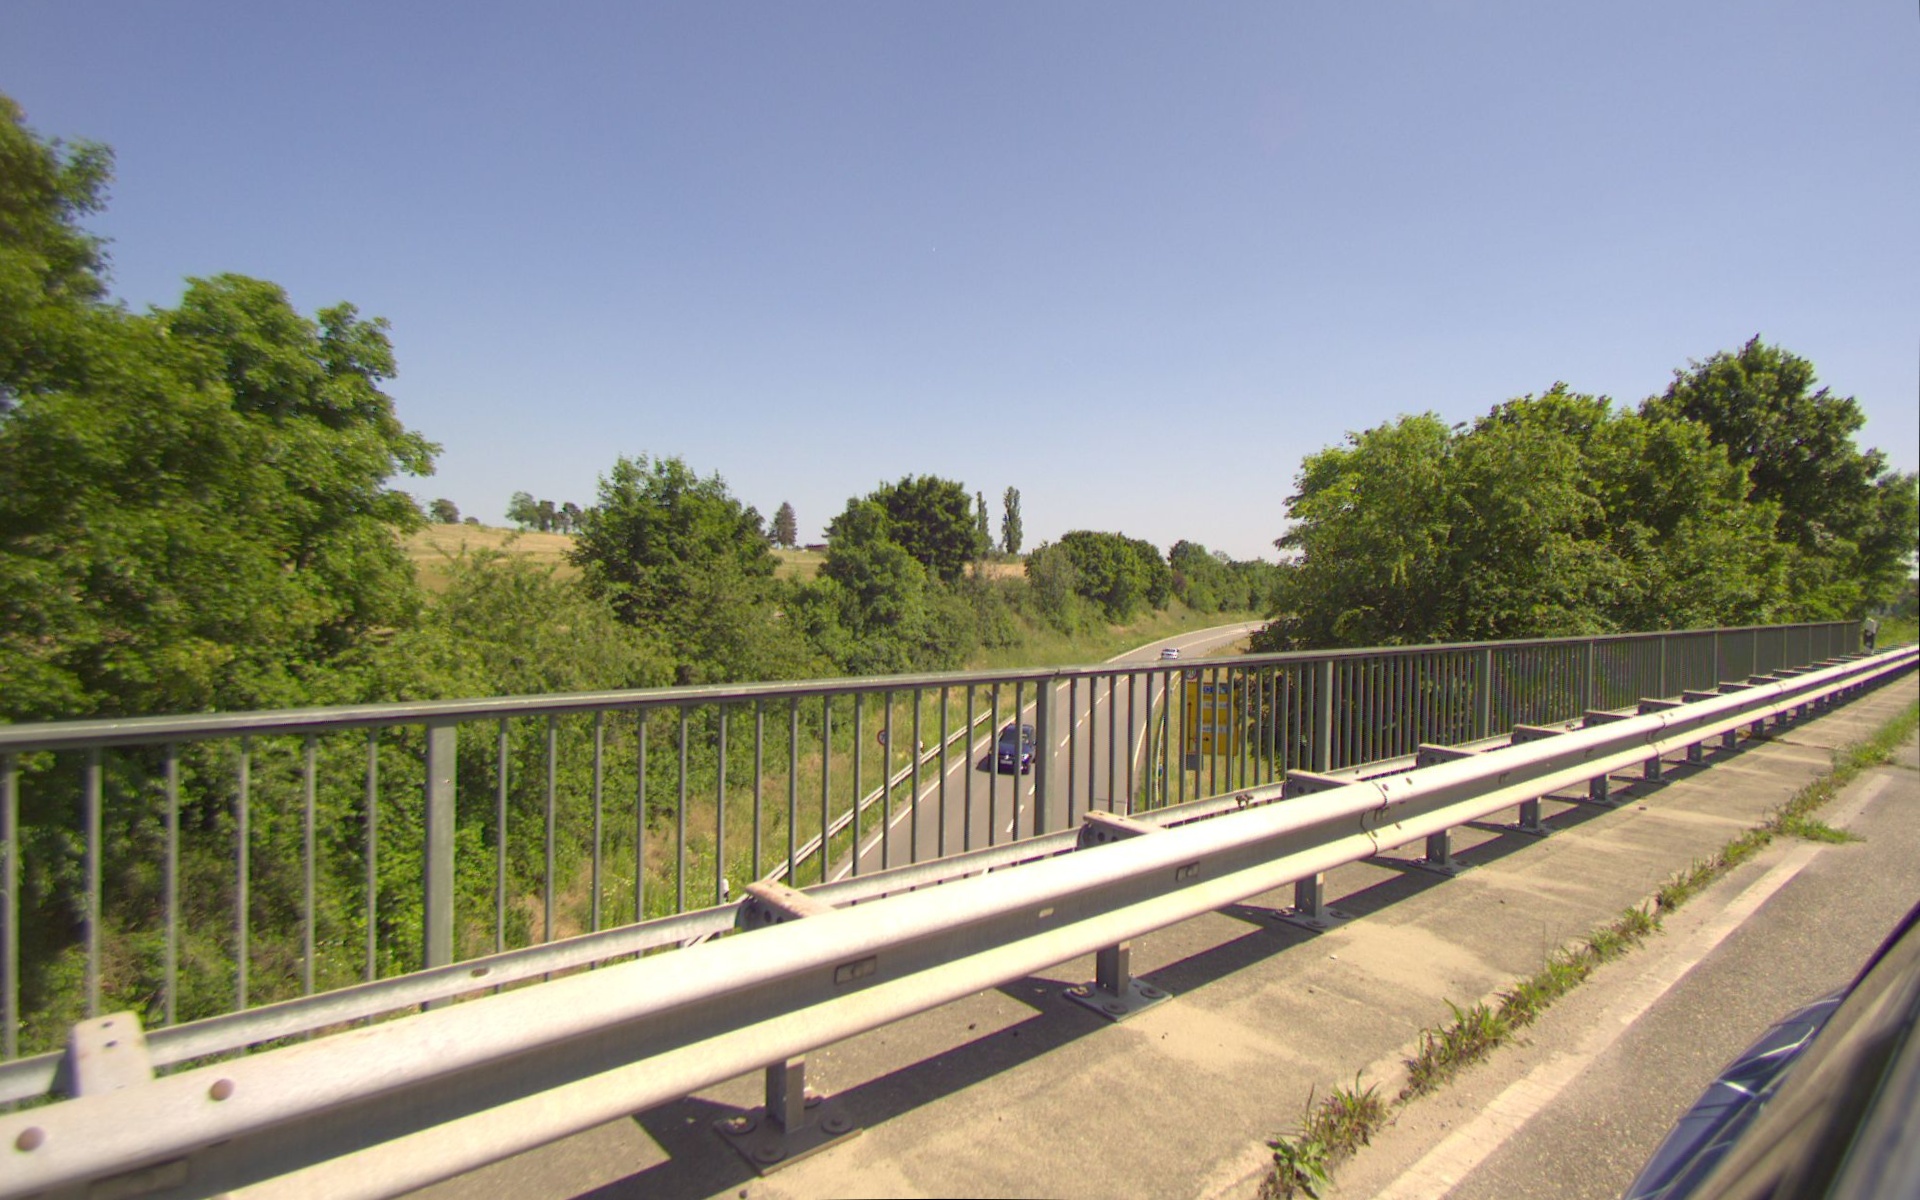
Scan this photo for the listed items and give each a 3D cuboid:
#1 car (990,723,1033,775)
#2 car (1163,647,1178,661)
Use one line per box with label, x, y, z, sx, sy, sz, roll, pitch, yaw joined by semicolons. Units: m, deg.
car;2.261;6.401;43.814;1.466;1.596;3.599;3;1;9
car;22.688;5.786;109.175;1.499;1.211;3.409;1;2;12
